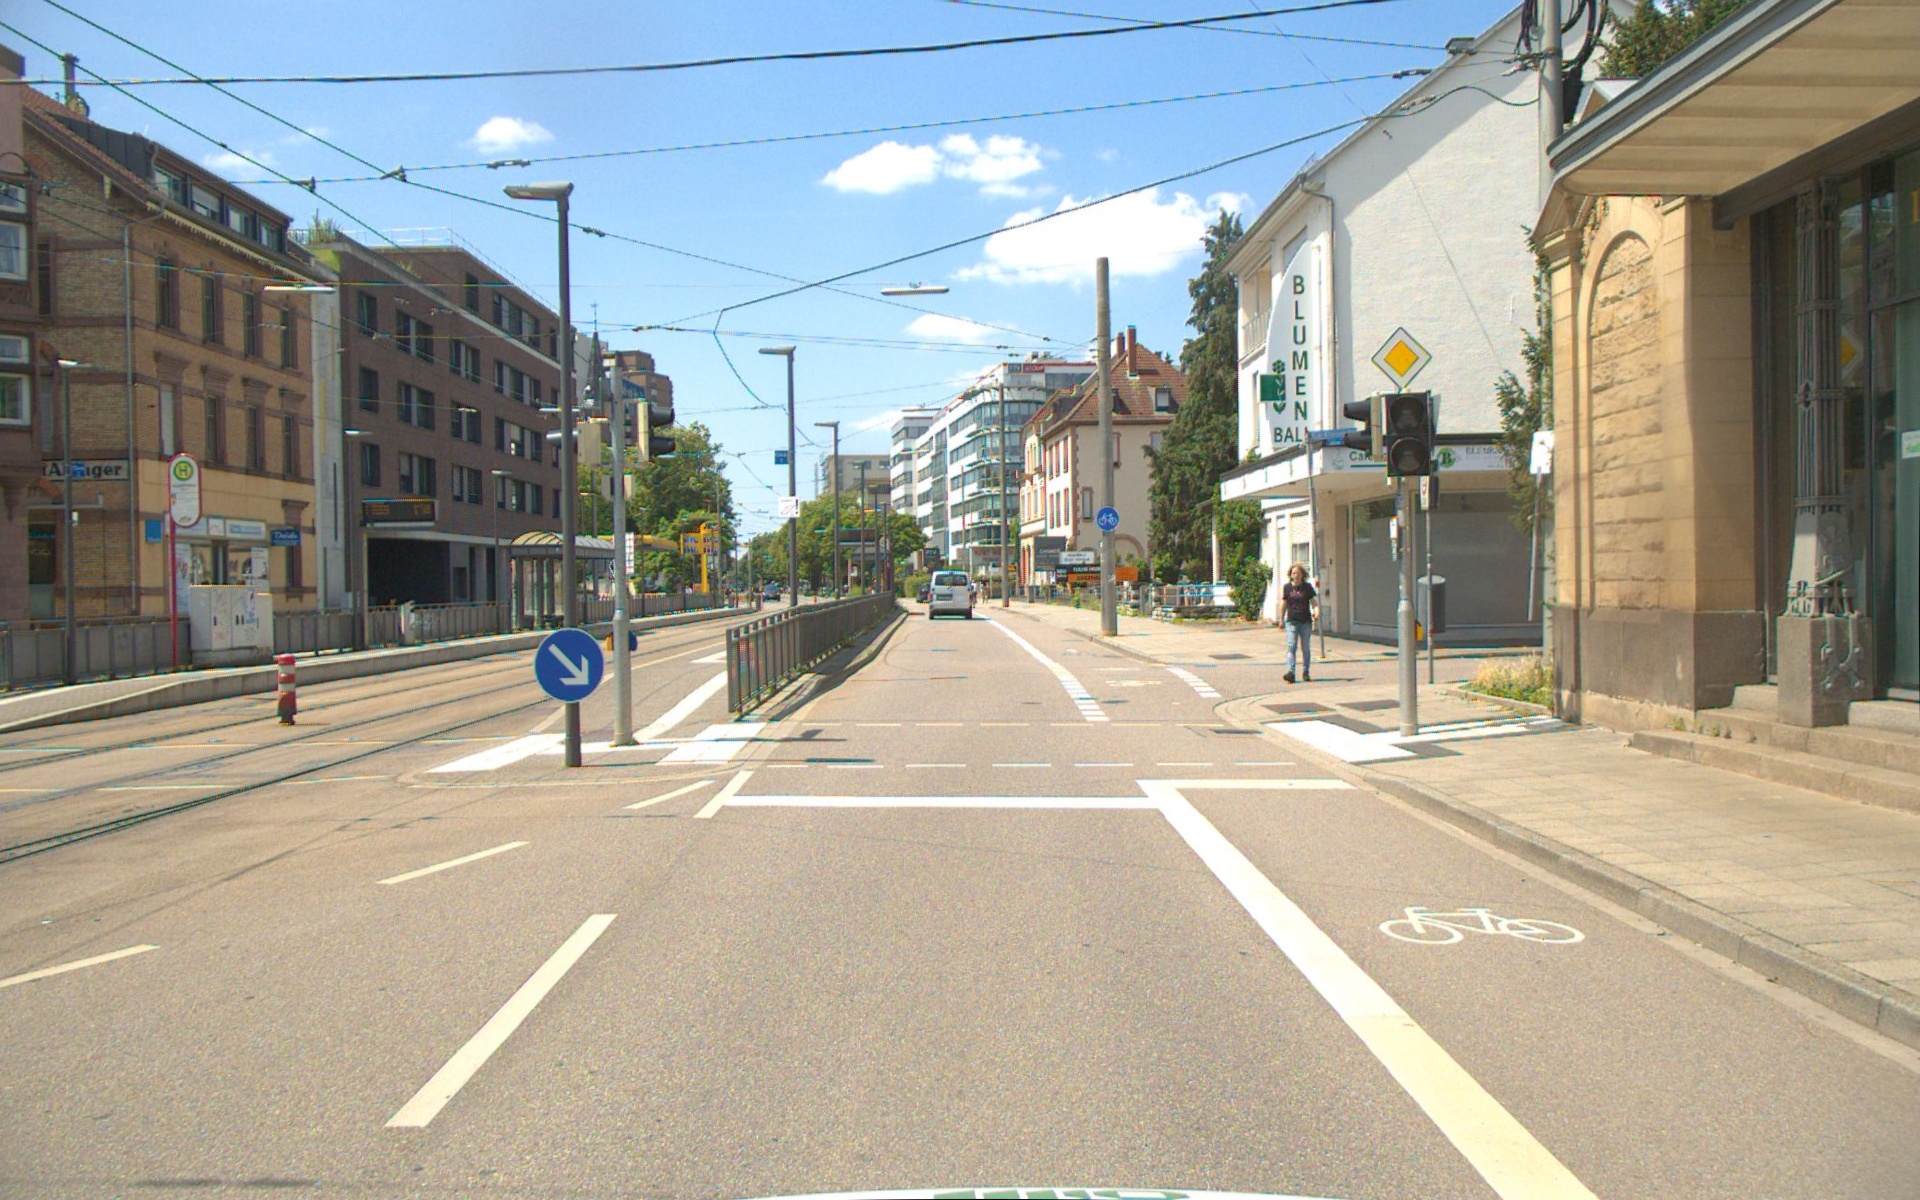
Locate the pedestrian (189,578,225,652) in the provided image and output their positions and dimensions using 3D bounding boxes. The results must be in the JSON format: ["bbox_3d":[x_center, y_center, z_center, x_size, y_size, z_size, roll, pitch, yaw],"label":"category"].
[{"bbox_3d":[-21.250,0.422,46.675,0.605,2.049,0.810,-2,0,-3],"label":"pedestrian"}]

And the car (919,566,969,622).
[{"bbox_3d":[-0.591,-0.280,65.618,1.716,2.048,4.002,-2,2,2],"label":"car"}]

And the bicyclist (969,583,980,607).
[{"bbox_3d":[0.882,-0.322,99.294,0.580,1.421,0.841,-1,1,-5],"label":"bicyclist"}]

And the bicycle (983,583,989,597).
[{"bbox_3d":[1.829,-0.698,115.268,0.349,0.956,1.317,-3,0,0],"label":"bicycle"}]

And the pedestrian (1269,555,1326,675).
[{"bbox_3d":[4.636,0.203,22.727,0.565,1.583,0.786,-3,0,2],"label":"pedestrian"}]

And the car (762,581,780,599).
[{"bbox_3d":[-18.981,-1.022,165.925,1.667,1.644,3.751,-3,0,-8],"label":"car"}]

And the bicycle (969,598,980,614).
[{"bbox_3d":[0.894,0.332,99.338,0.456,0.903,2.046,-1,1,-5],"label":"bicycle"}]
